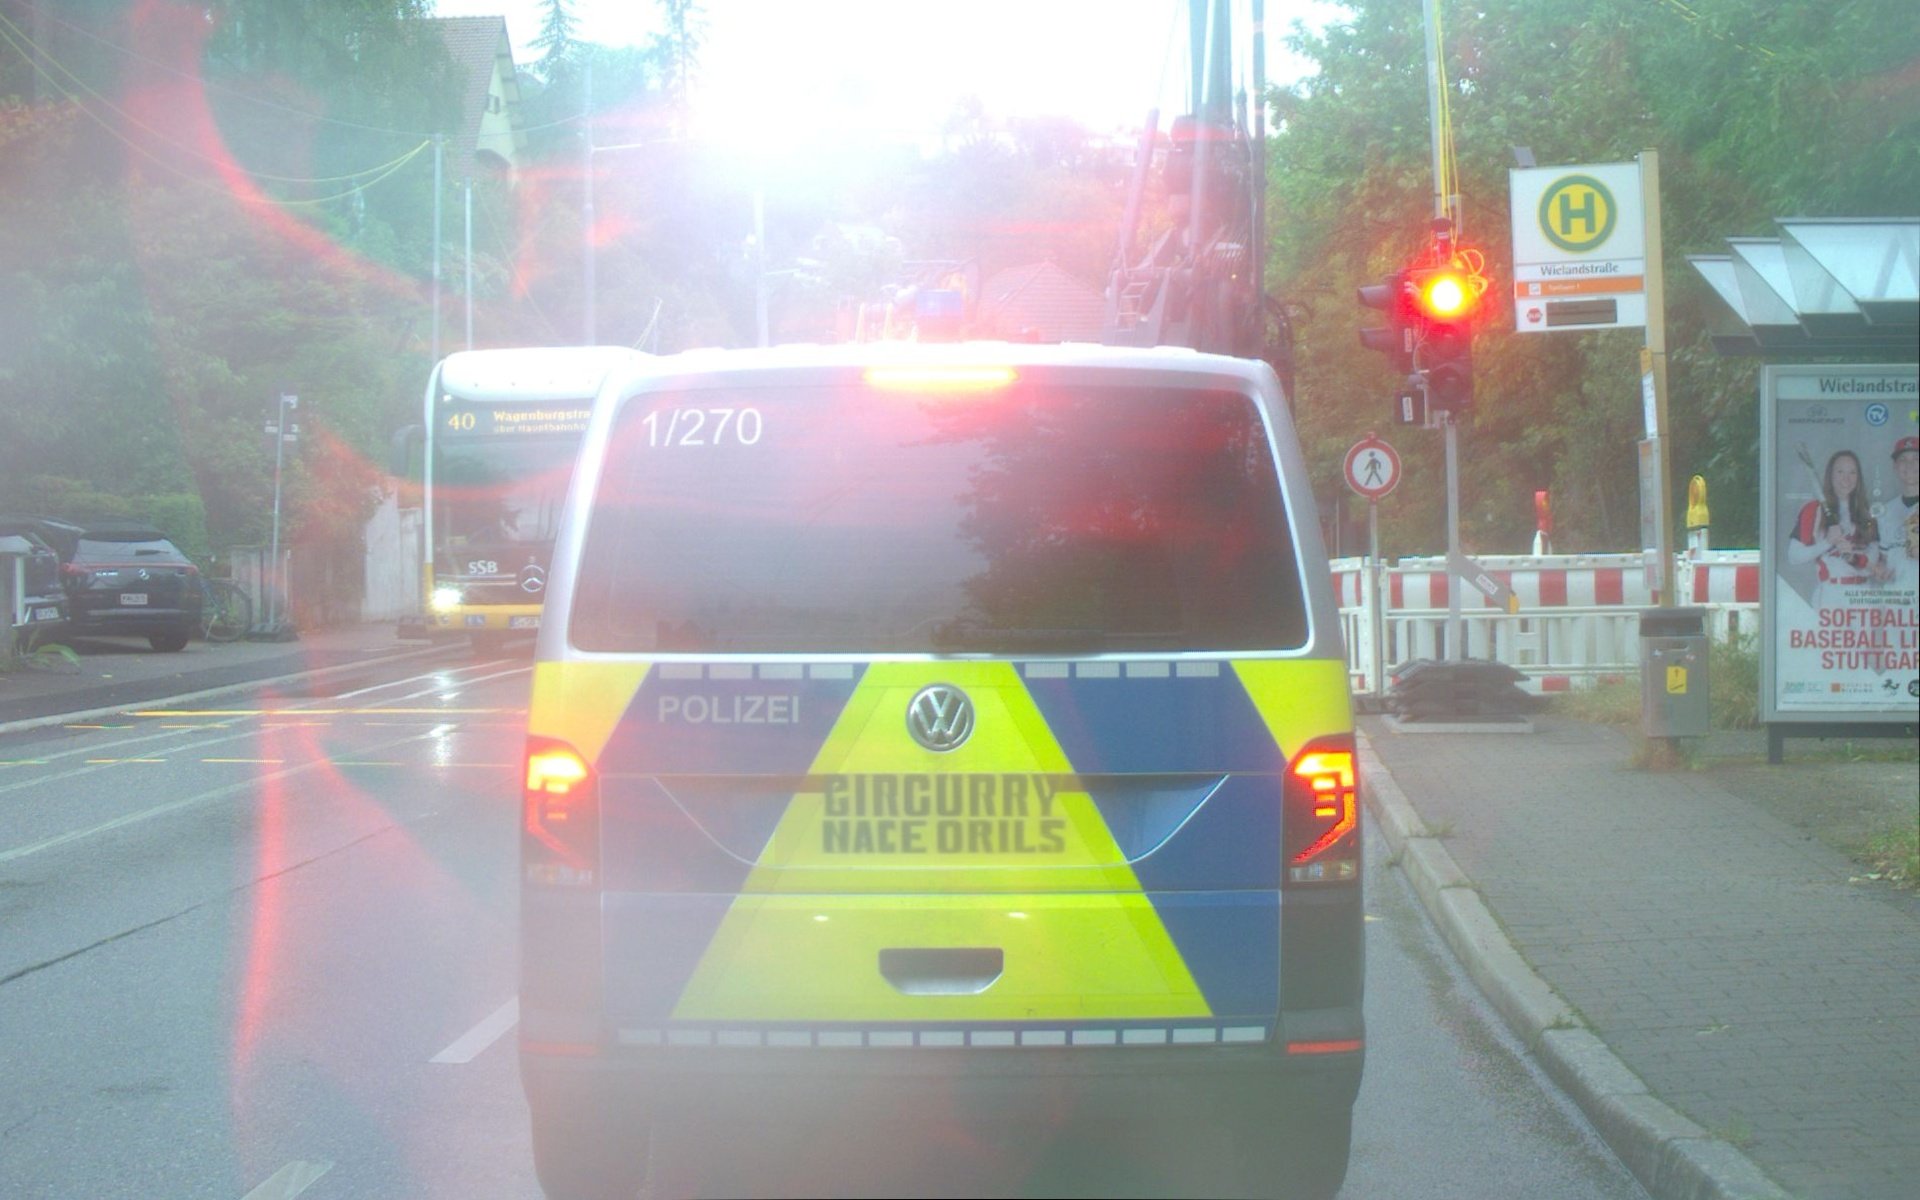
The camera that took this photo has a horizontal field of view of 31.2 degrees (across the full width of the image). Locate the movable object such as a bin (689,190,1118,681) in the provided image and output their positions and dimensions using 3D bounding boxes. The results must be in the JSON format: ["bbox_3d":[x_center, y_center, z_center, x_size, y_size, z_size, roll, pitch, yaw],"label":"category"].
[{"bbox_3d":[-0.412,-1.457,31.628,2.832,4.163,4.378,1,1,15],"label":"movable object such as a bin"}]

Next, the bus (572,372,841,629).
[{"bbox_3d":[-3.813,-1.539,54.893,2.841,3.612,12.005,1,1,3],"label":"bus"}]

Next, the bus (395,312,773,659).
[{"bbox_3d":[-4.376,-1.359,42.971,2.841,3.705,12.005,1,1,3],"label":"bus"}]

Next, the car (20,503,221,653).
[{"bbox_3d":[-9.314,-0.277,37.971,1.765,1.481,3.743,1,3,-20],"label":"car"}]

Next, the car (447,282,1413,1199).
[{"bbox_3d":[-0.085,0.362,8.829,1.893,2.043,4.000,1,1,-1],"label":"car"}]

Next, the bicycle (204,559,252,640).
[{"bbox_3d":[-8.433,-0.018,39.589,0.462,0.894,1.634,0,1,-15],"label":"bicycle"}]
